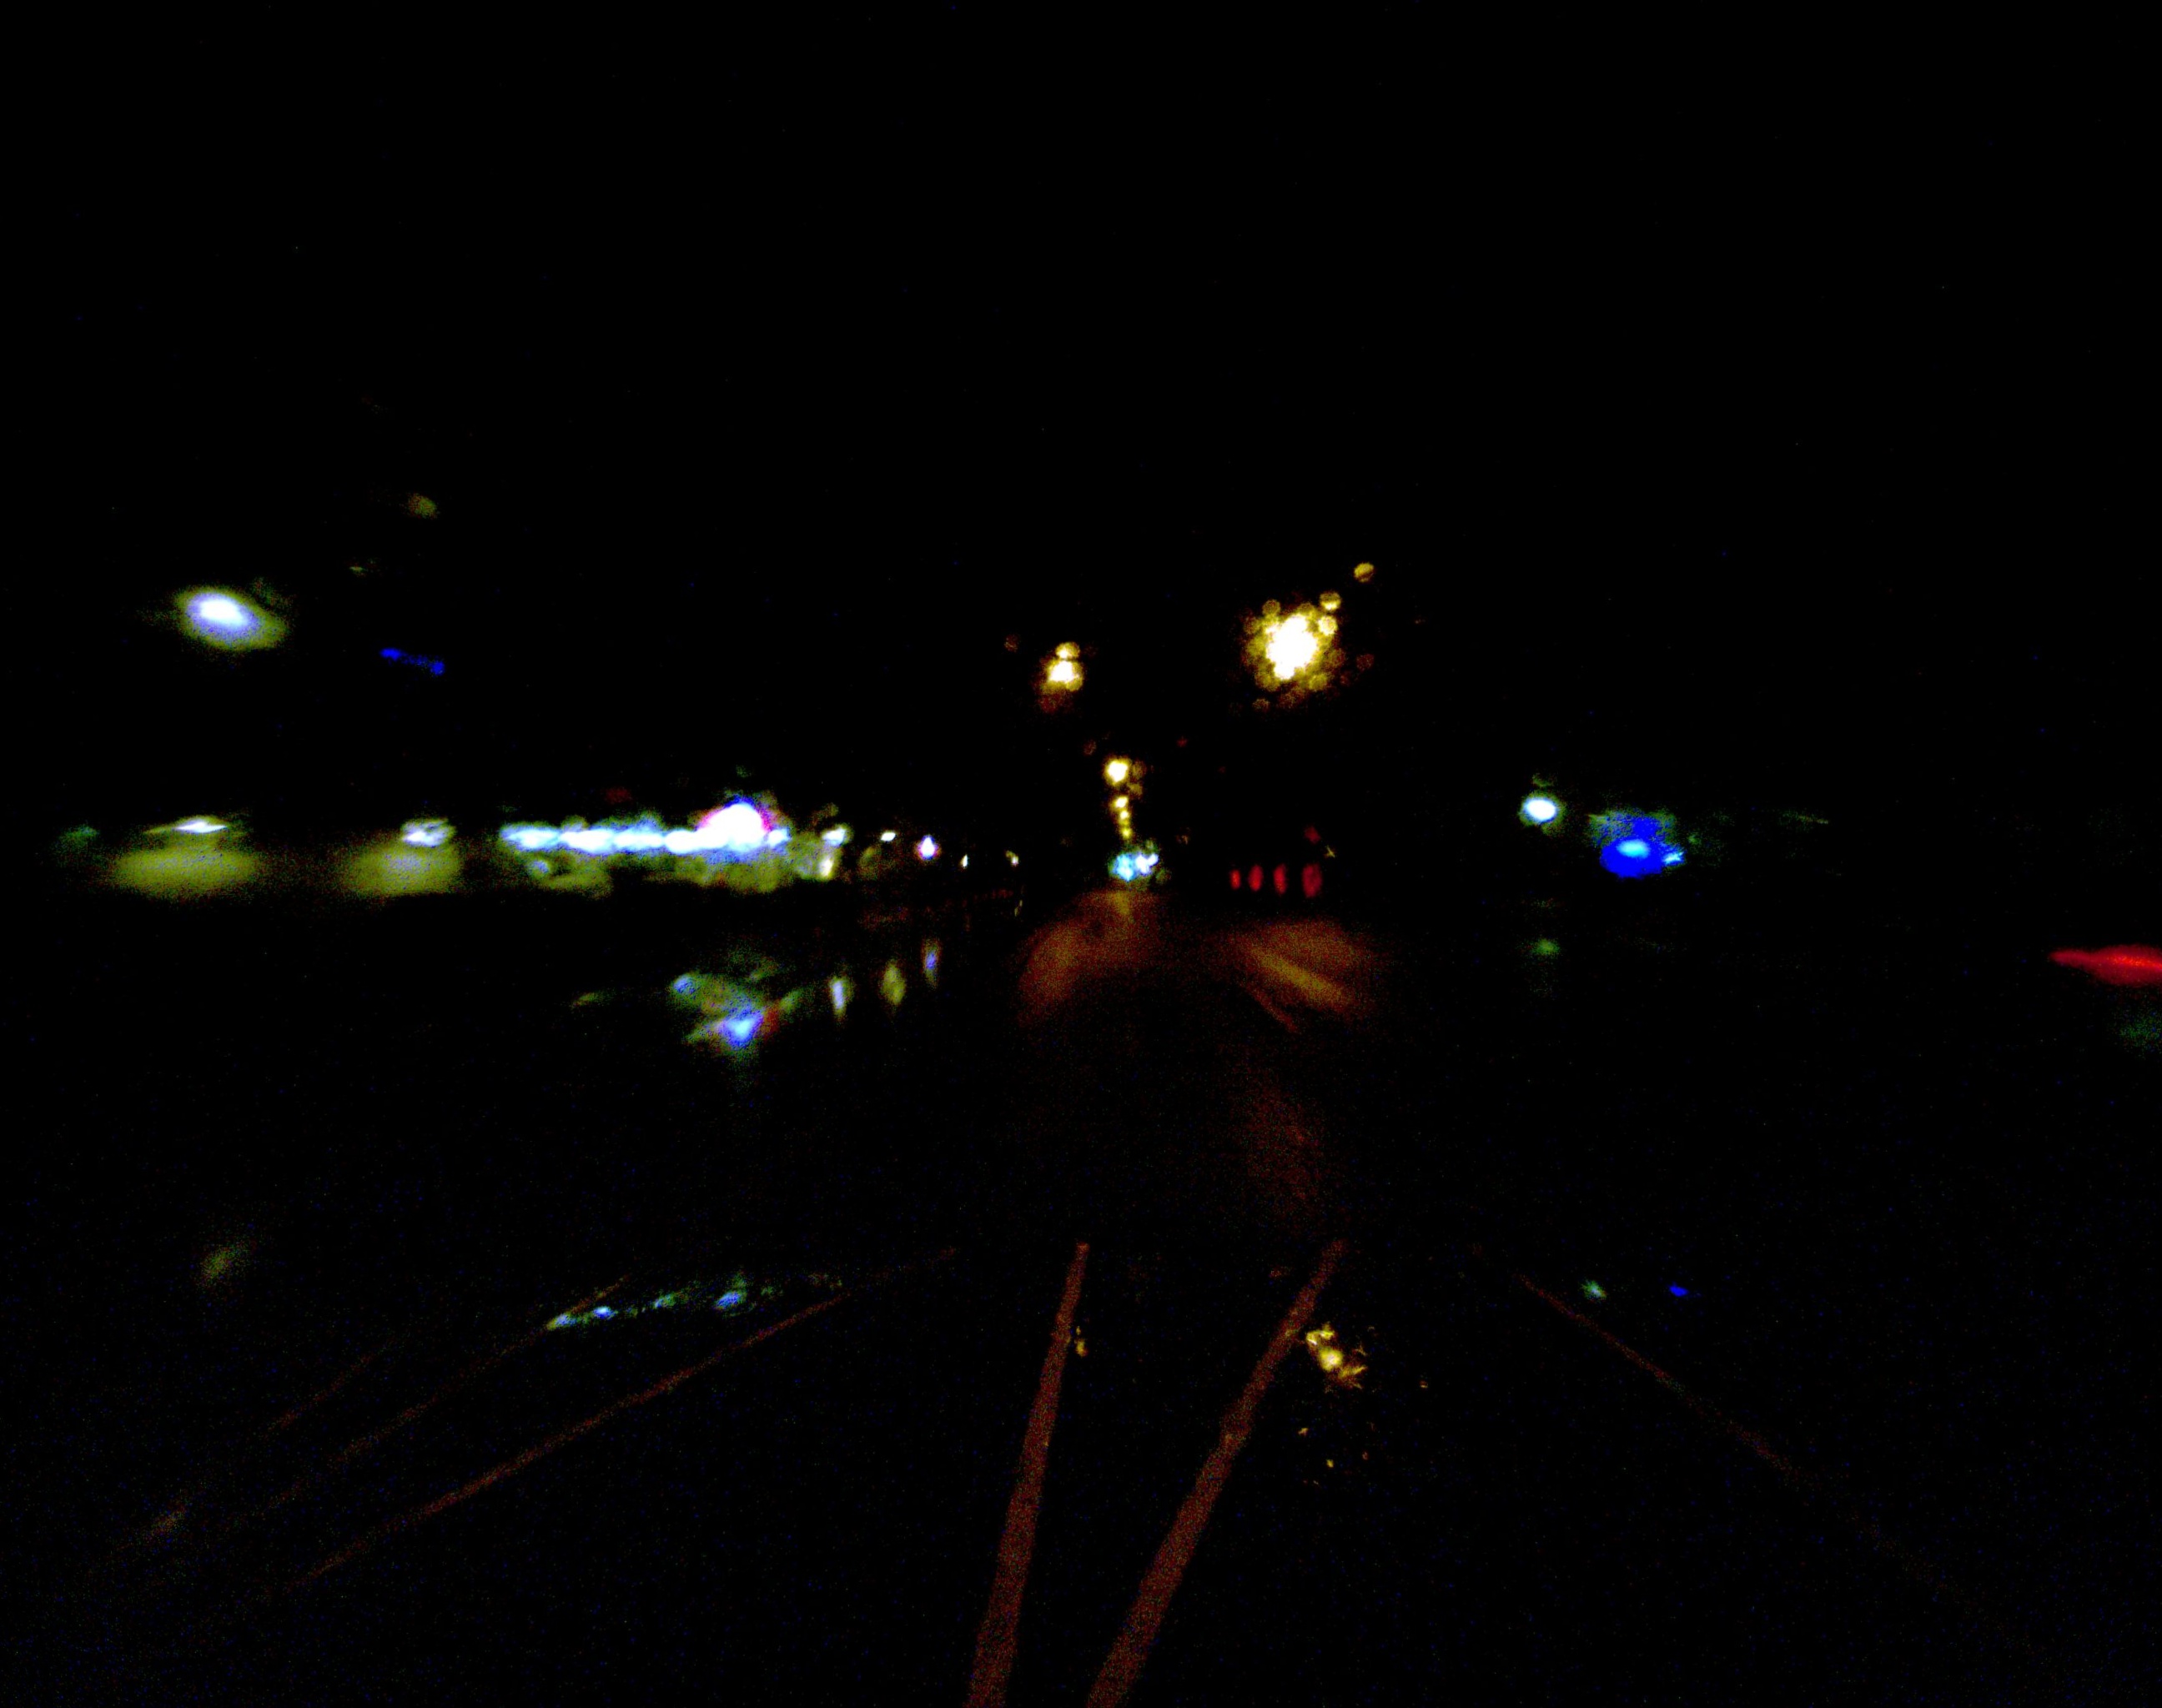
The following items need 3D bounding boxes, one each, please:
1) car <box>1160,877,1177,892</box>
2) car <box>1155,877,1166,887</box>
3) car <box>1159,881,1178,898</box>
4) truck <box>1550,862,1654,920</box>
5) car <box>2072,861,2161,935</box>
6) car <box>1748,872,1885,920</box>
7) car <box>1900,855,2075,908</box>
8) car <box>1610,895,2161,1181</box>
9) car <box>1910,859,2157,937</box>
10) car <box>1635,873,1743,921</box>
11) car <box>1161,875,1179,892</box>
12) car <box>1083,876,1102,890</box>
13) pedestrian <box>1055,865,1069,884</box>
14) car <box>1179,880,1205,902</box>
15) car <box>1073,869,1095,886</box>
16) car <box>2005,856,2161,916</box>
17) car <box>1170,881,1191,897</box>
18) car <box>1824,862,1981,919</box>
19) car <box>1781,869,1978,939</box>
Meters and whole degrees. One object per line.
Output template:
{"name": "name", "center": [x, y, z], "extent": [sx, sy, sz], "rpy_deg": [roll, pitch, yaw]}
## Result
{"name": "car", "center": [10.827, 3.774, 94.135], "extent": [1.477, 1.610, 3.375], "rpy_deg": [11, -1, 2]}
{"name": "car", "center": [12.349, 4.297, 118.125], "extent": [1.669, 1.530, 4.393], "rpy_deg": [-1, -1, 4]}
{"name": "car", "center": [8.553, 3.413, 74.156], "extent": [1.601, 1.477, 4.277], "rpy_deg": [2, -1, 4]}
{"name": "truck", "center": [19.810, 1.399, 29.157], "extent": [2.125, 2.001, 5.272], "rpy_deg": [-2, -2, 22]}
{"name": "car", "center": [23.237, 0.902, 15.624], "extent": [1.715, 1.511, 3.926], "rpy_deg": [-2, -2, 23]}
{"name": "car", "center": [25.549, 1.414, 26.617], "extent": [1.866, 1.531, 4.502], "rpy_deg": [-2, -2, 22]}
{"name": "car", "center": [30.274, 0.906, 25.614], "extent": [1.866, 1.603, 4.502], "rpy_deg": [-2, -2, 22]}
{"name": "car", "center": [6.783, 1.107, 5.884], "extent": [1.857, 1.490, 4.770], "rpy_deg": [-1, -2, -3]}
{"name": "car", "center": [20.765, 0.913, 16.845], "extent": [1.715, 1.511, 3.926], "rpy_deg": [-2, -2, 23]}
{"name": "car", "center": [22.247, 1.531, 28.029], "extent": [1.866, 1.603, 4.502], "rpy_deg": [-2, -2, 22]}
{"name": "car", "center": [9.287, 3.065, 79.335], "extent": [1.601, 1.595, 4.261], "rpy_deg": [2, -1, 4]}
{"name": "car", "center": [1.239, 3.006, 78.762], "extent": [1.826, 1.413, 4.490], "rpy_deg": [0, -1, 3]}
{"name": "pedestrian", "center": [-1.684, 1.813, 66.896], "extent": [1.052, 1.565, 1.019], "rpy_deg": [-2, -1, 9]}
{"name": "car", "center": [8.414, 2.815, 58.080], "extent": [1.601, 1.554, 4.382], "rpy_deg": [2, -1, 4]}
{"name": "car", "center": [0.314, 2.162, 71.403], "extent": [1.826, 1.521, 4.785], "rpy_deg": [0, -1, 3]}
{"name": "car", "center": [32.345, 0.963, 24.124], "extent": [1.866, 1.749, 4.502], "rpy_deg": [-2, -2, 22]}
{"name": "car", "center": [8.923, 3.114, 68.129], "extent": [1.601, 1.365, 4.070], "rpy_deg": [-1, -2, 4]}
{"name": "car", "center": [27.858, 1.189, 25.996], "extent": [1.866, 1.784, 4.502], "rpy_deg": [-2, -2, 22]}
{"name": "car", "center": [18.408, 1.088, 17.780], "extent": [1.715, 1.423, 3.926], "rpy_deg": [-2, -2, 23]}
